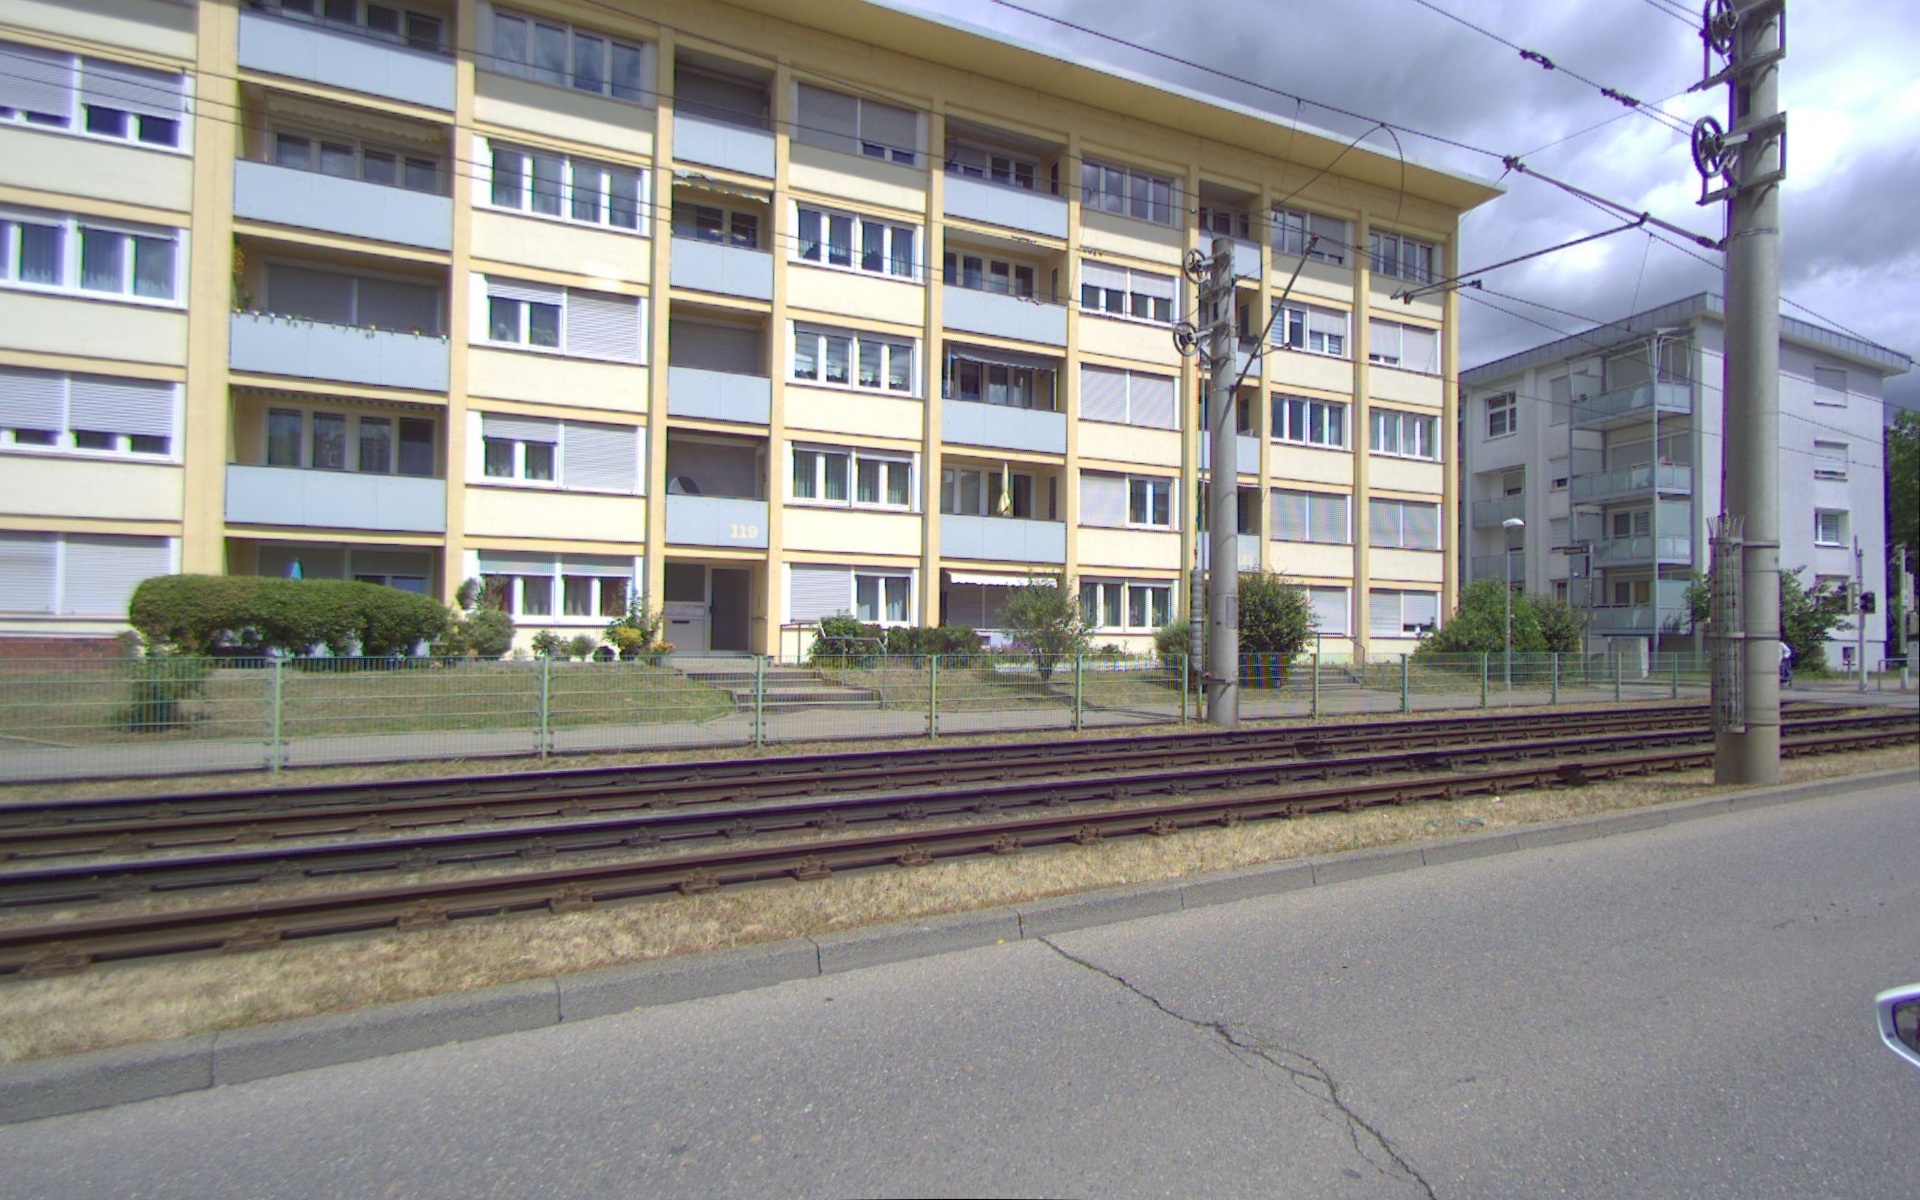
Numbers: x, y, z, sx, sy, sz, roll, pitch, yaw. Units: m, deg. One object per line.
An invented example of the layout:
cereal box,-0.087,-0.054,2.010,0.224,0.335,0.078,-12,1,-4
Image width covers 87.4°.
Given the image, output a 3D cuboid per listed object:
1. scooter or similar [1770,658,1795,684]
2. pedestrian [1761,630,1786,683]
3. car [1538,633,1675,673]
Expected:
scooter or similar,24.735,2.139,30.210,0.468,0.757,0.436,1,-1,-25
pedestrian,24.890,1.707,30.724,0.468,1.601,0.436,1,-1,-25
car,23.971,1.940,37.404,1.873,1.363,3.980,1,-2,-21
